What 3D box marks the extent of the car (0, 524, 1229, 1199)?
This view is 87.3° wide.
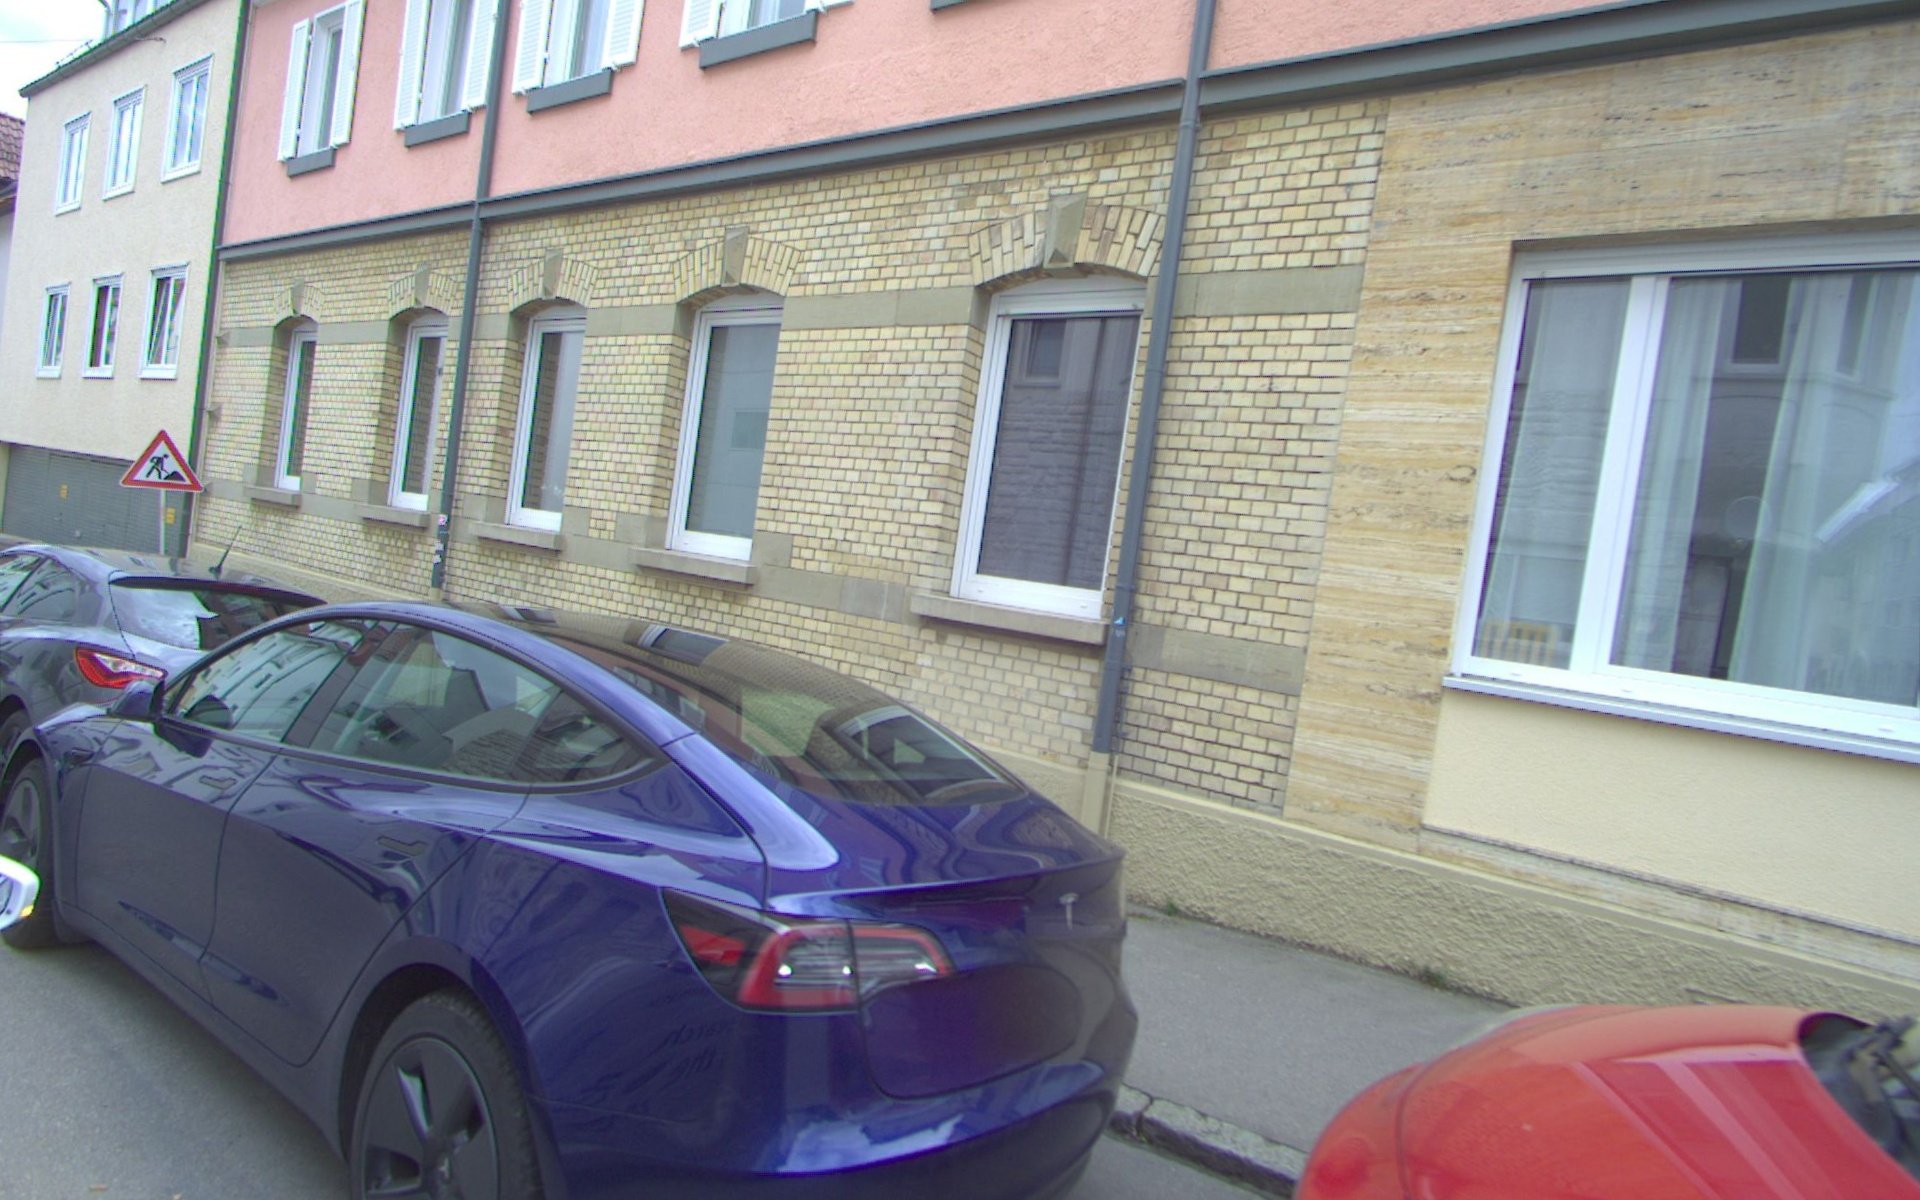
[{"bbox_3d":[-1.531,0.701,3.382,4.224,1.419,1.855,6,-2,35],"label":"car"}]

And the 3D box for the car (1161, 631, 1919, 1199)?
[{"bbox_3d":[2.184,1.013,1.033,3.566,1.497,1.669,6,0,33],"label":"car"}]

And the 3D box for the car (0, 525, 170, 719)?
[{"bbox_3d":[-8.925,0.011,8.688,4.502,1.419,1.856,5,-3,33],"label":"car"}]

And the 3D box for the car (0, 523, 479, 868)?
[{"bbox_3d":[-5.075,0.373,6.204,3.901,1.419,1.856,6,-2,31],"label":"car"}]
